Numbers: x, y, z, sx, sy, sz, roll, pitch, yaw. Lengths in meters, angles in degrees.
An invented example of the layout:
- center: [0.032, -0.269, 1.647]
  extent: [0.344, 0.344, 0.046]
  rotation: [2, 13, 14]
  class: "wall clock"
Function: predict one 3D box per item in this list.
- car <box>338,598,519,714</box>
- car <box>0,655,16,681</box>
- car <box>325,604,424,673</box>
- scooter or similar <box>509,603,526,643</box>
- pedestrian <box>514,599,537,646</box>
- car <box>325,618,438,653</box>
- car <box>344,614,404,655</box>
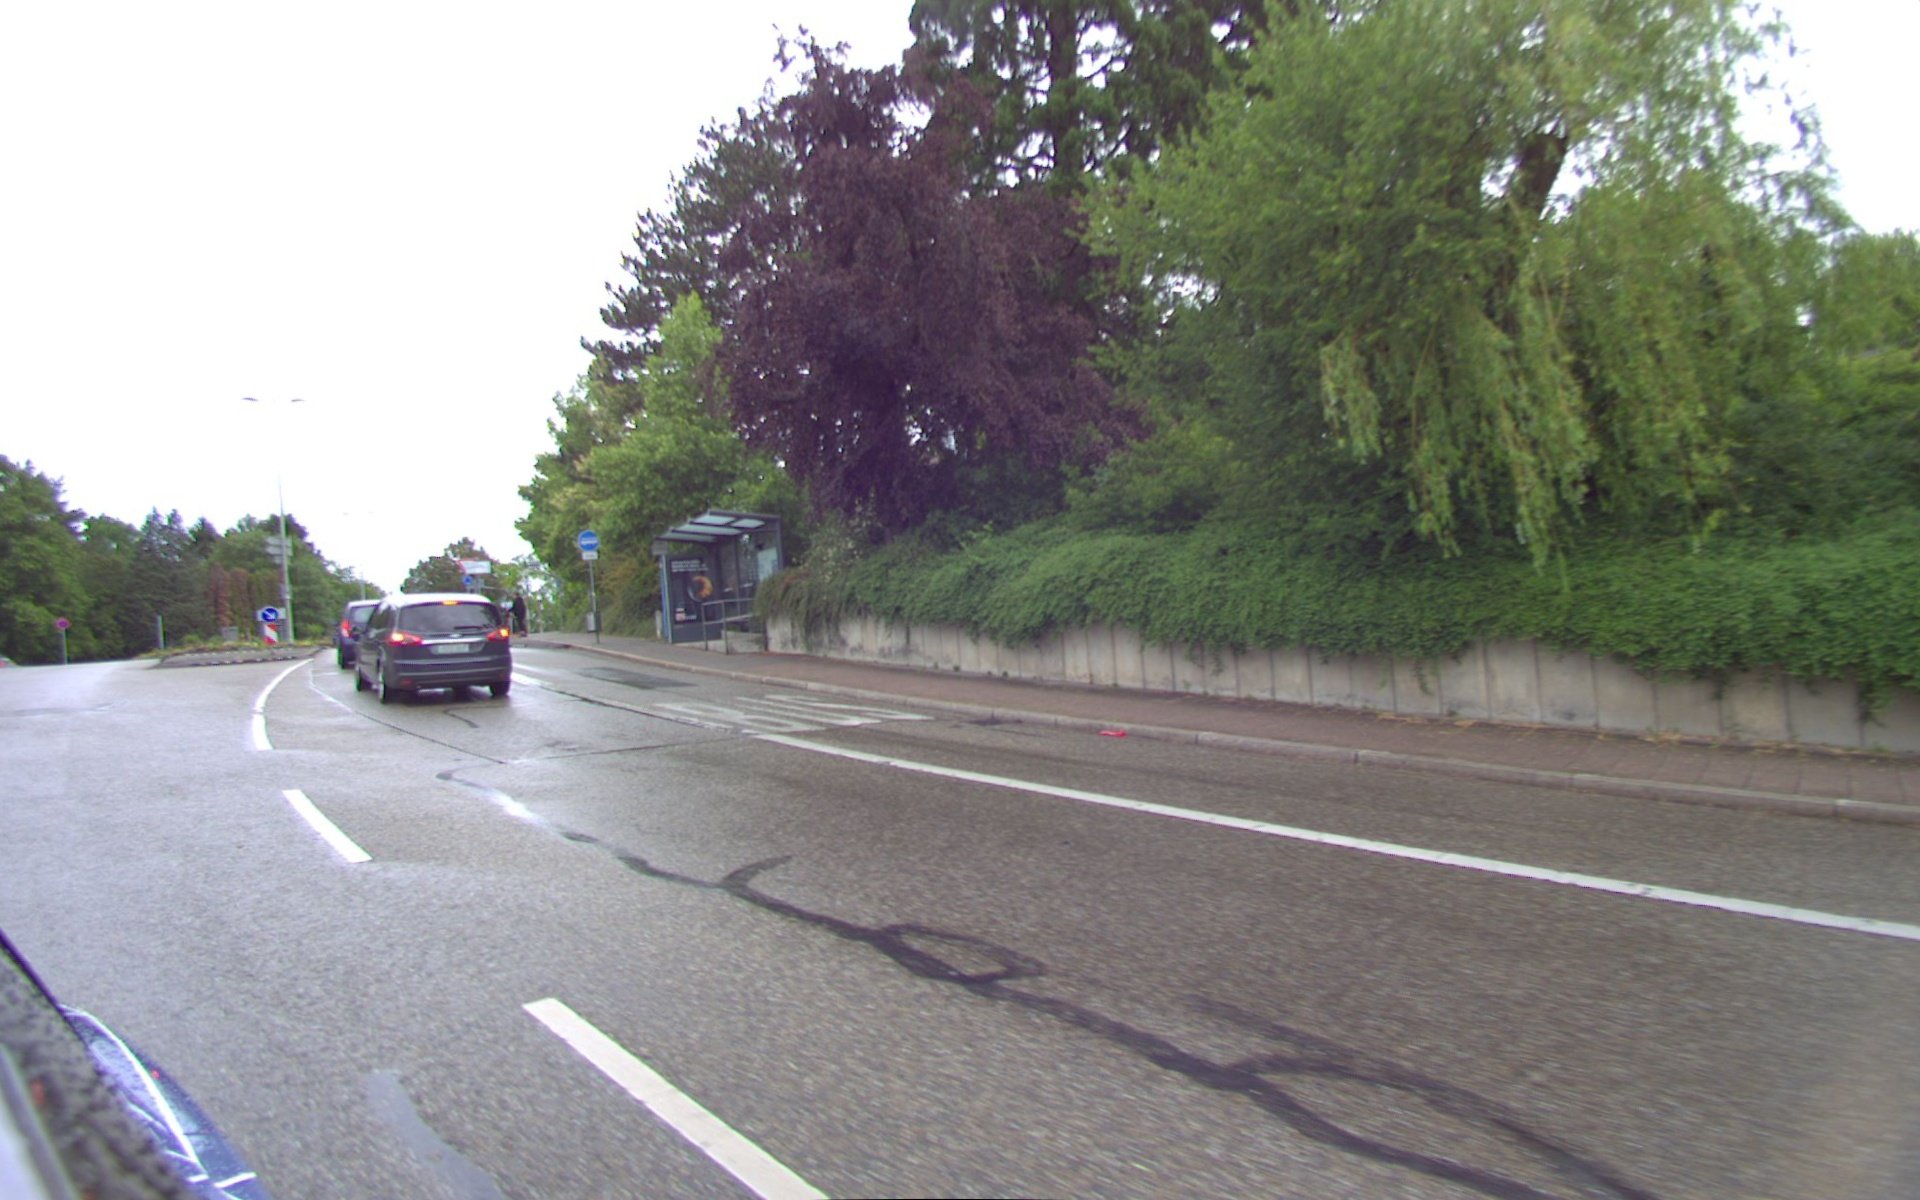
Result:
- center: [-8.829, 0.820, 16.590]
  extent: [1.787, 1.588, 4.695]
  rotation: [-2, 0, -38]
  class: "car"
- center: [-55.852, 3.979, 56.402]
  extent: [4.310, 1.425, 1.869]
  rotation: [-4, -1, -20]
  class: "car"
- center: [-14.294, 0.922, 24.597]
  extent: [1.698, 1.475, 4.388]
  rotation: [-2, -1, -35]
  class: "car"
- center: [-17.382, 0.900, 39.751]
  extent: [0.502, 1.527, 1.322]
  rotation: [-2, -1, -27]
  class: "scooter or similar"
- center: [-17.133, 0.892, 39.903]
  extent: [0.693, 1.821, 0.828]
  rotation: [-2, -1, -27]
  class: "pedestrian"
- center: [-29.131, 1.777, 51.064]
  extent: [1.761, 1.448, 4.612]
  rotation: [-5, -2, 38]
  class: "car"
- center: [-23.021, 1.335, 39.656]
  extent: [1.803, 1.412, 4.834]
  rotation: [-2, 0, -32]
  class: "car"
